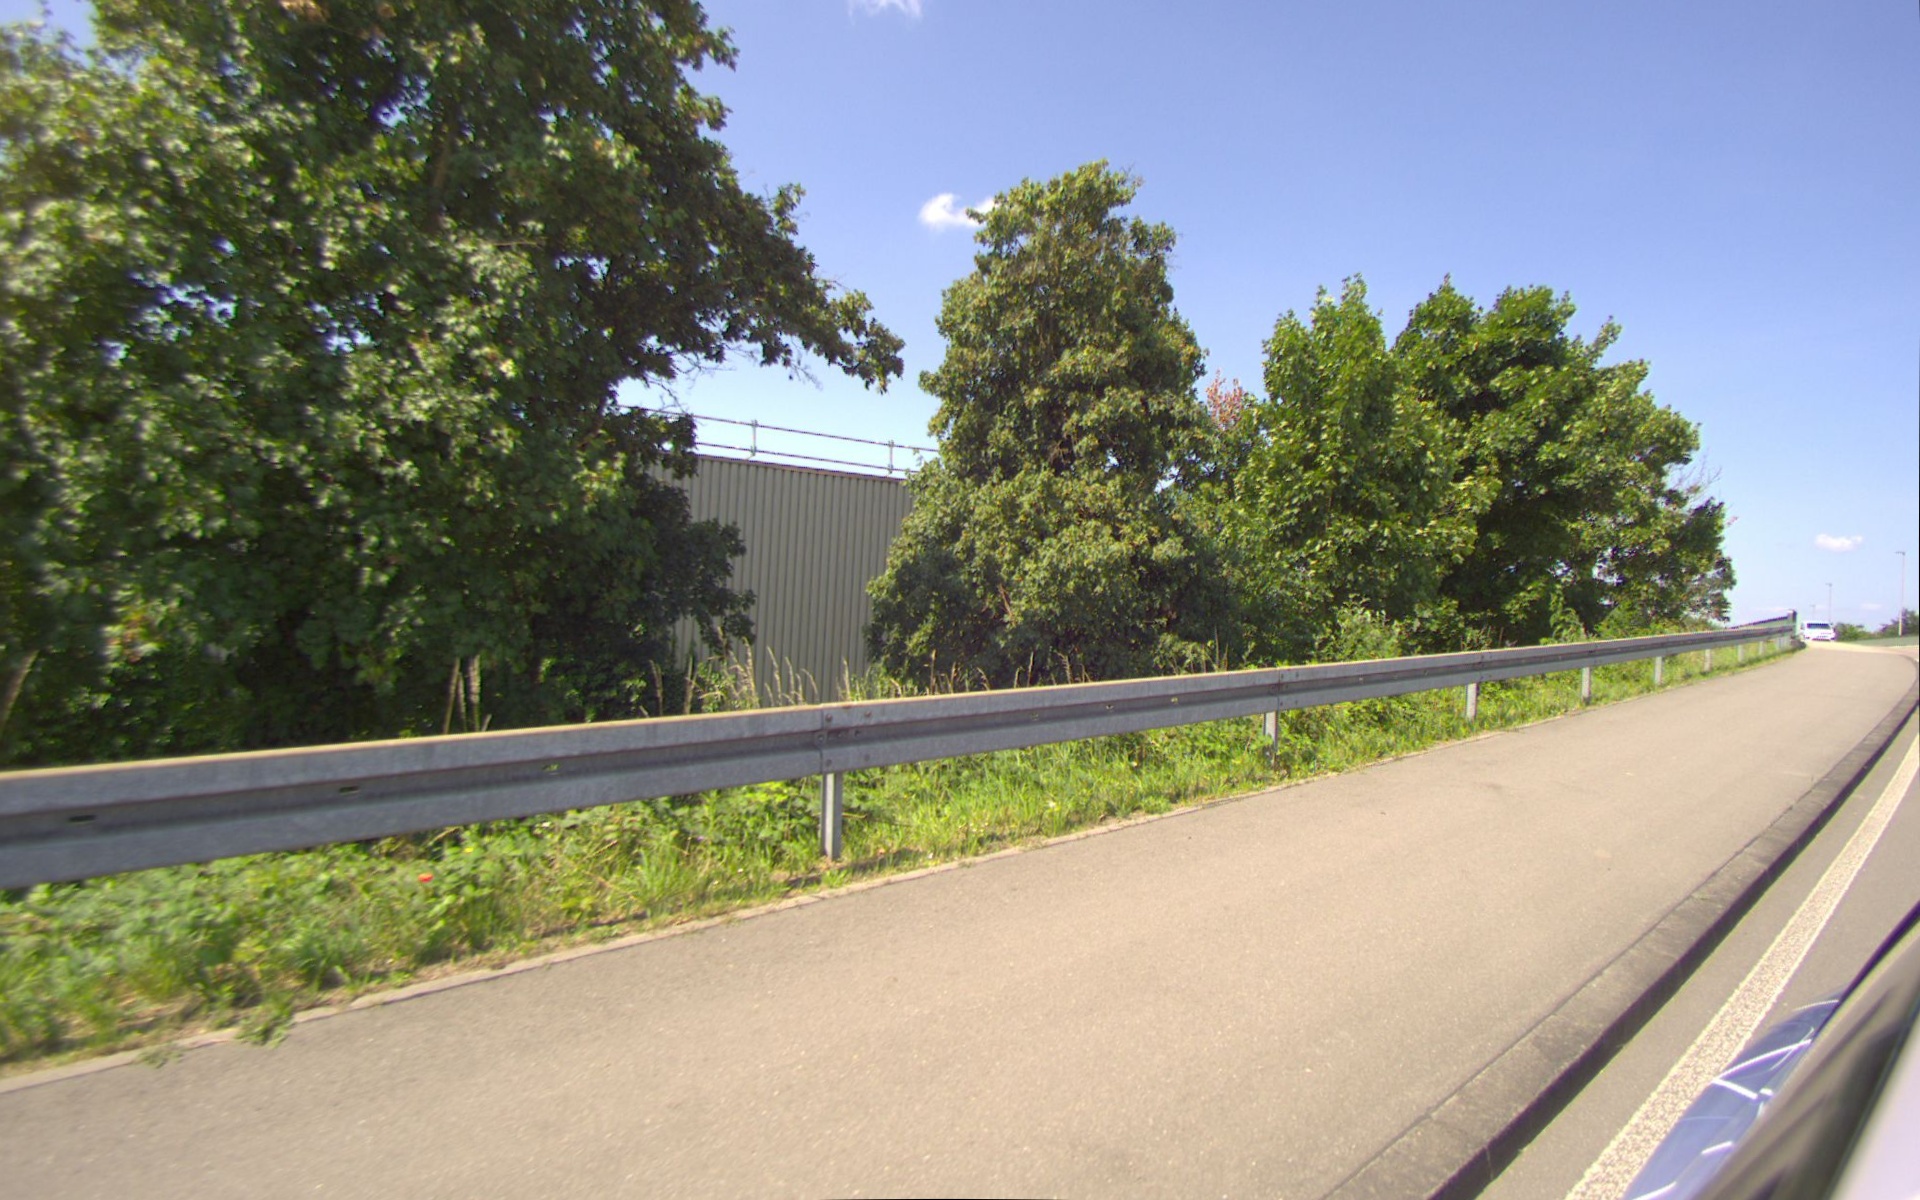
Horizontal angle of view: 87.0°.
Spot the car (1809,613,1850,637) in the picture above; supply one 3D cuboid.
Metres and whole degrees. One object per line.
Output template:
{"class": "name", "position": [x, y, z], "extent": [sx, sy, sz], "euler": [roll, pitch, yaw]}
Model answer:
{"class": "car", "position": [66.530, 1.894, 77.481], "extent": [2.082, 1.783, 4.226], "euler": [1, -1, 36]}
